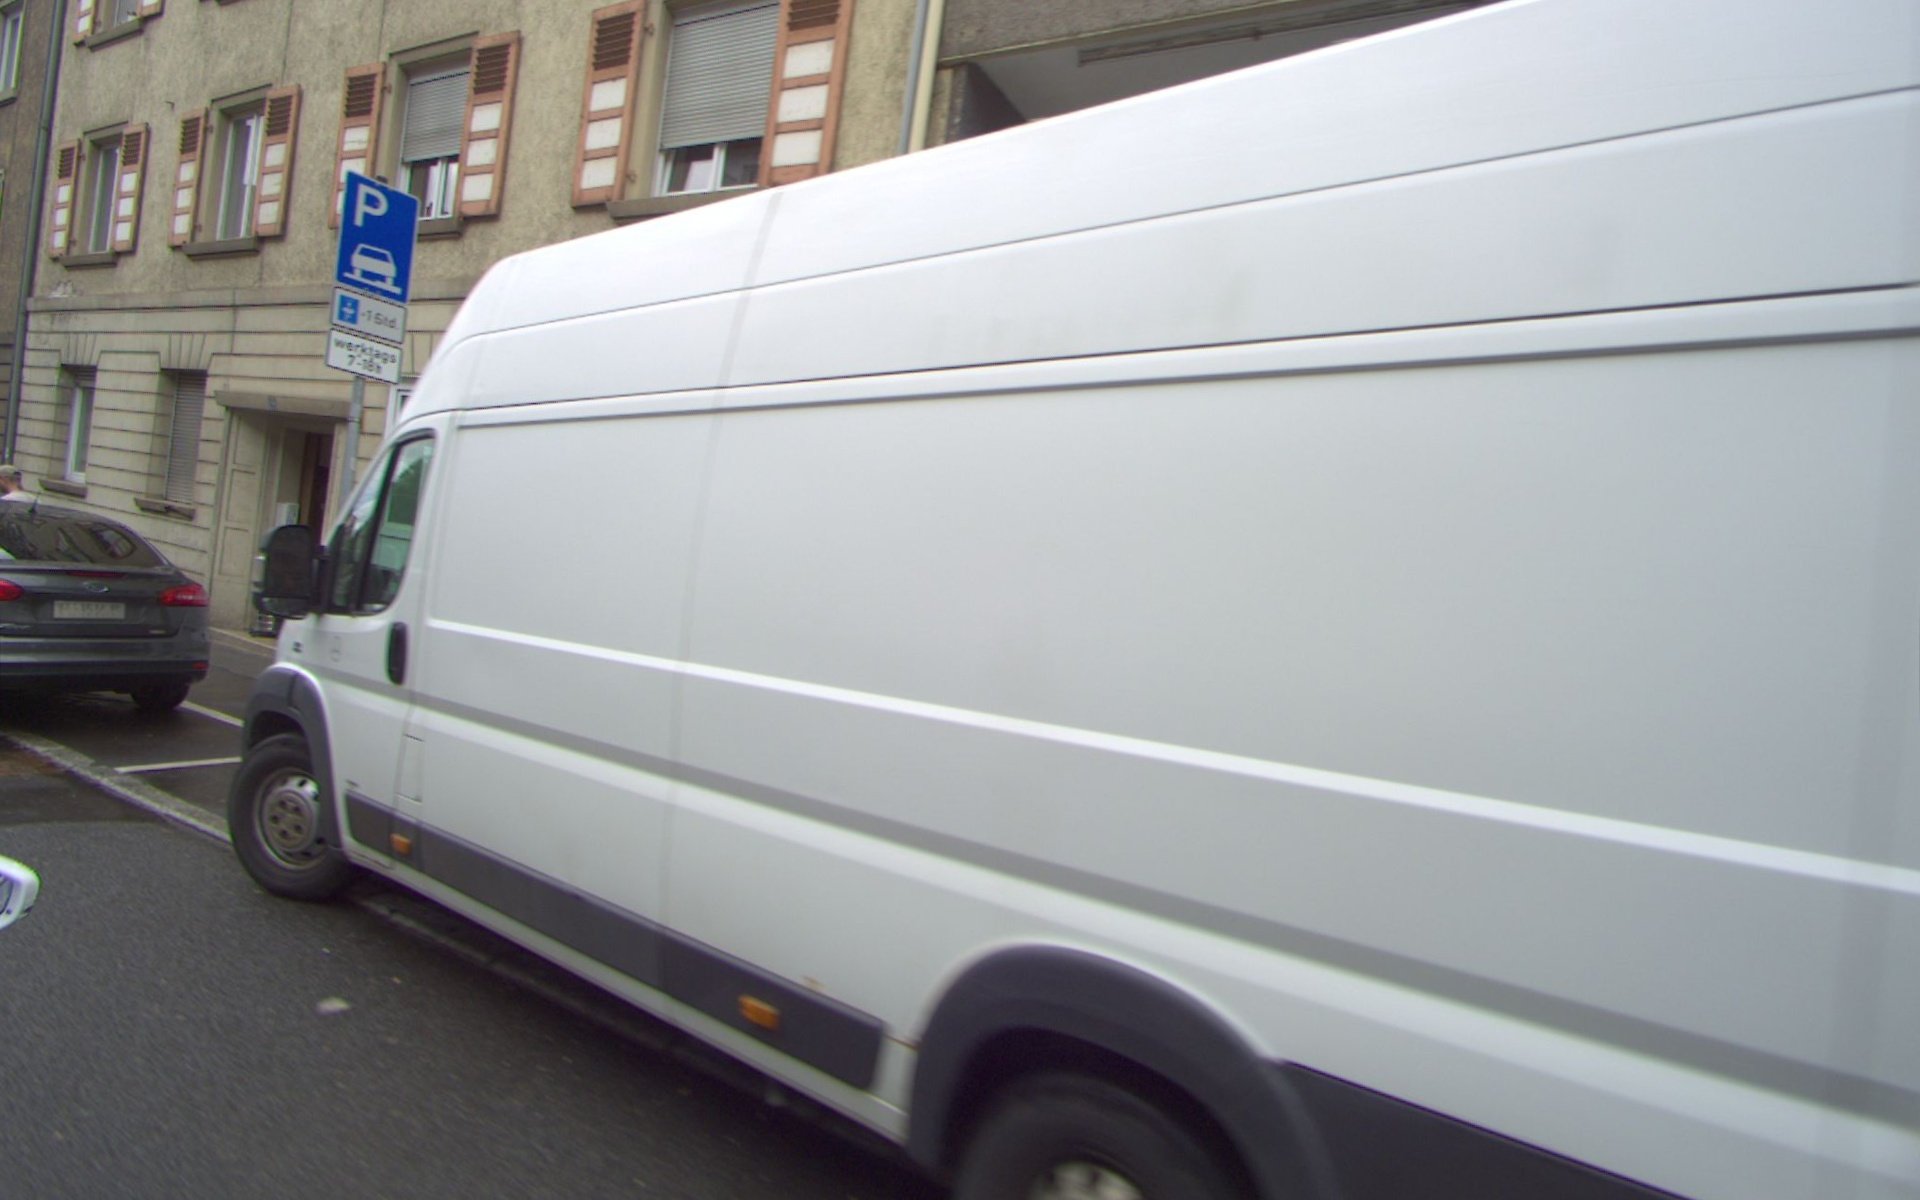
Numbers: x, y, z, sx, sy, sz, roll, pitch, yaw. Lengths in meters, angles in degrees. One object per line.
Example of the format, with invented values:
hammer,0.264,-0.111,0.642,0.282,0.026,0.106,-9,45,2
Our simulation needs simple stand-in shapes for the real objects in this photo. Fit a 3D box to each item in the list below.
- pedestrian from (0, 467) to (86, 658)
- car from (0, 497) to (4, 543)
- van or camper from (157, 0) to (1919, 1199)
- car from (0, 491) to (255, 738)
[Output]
pedestrian,-9.223,-0.370,9.957,0.706,1.811,0.680,3,2,-34
car,-11.941,-0.521,10.320,4.510,1.497,1.780,6,0,29
van or camper,-0.492,0.118,3.691,6.321,2.734,2.183,7,1,37
car,-7.417,-0.057,7.496,4.117,1.497,1.781,6,0,28
